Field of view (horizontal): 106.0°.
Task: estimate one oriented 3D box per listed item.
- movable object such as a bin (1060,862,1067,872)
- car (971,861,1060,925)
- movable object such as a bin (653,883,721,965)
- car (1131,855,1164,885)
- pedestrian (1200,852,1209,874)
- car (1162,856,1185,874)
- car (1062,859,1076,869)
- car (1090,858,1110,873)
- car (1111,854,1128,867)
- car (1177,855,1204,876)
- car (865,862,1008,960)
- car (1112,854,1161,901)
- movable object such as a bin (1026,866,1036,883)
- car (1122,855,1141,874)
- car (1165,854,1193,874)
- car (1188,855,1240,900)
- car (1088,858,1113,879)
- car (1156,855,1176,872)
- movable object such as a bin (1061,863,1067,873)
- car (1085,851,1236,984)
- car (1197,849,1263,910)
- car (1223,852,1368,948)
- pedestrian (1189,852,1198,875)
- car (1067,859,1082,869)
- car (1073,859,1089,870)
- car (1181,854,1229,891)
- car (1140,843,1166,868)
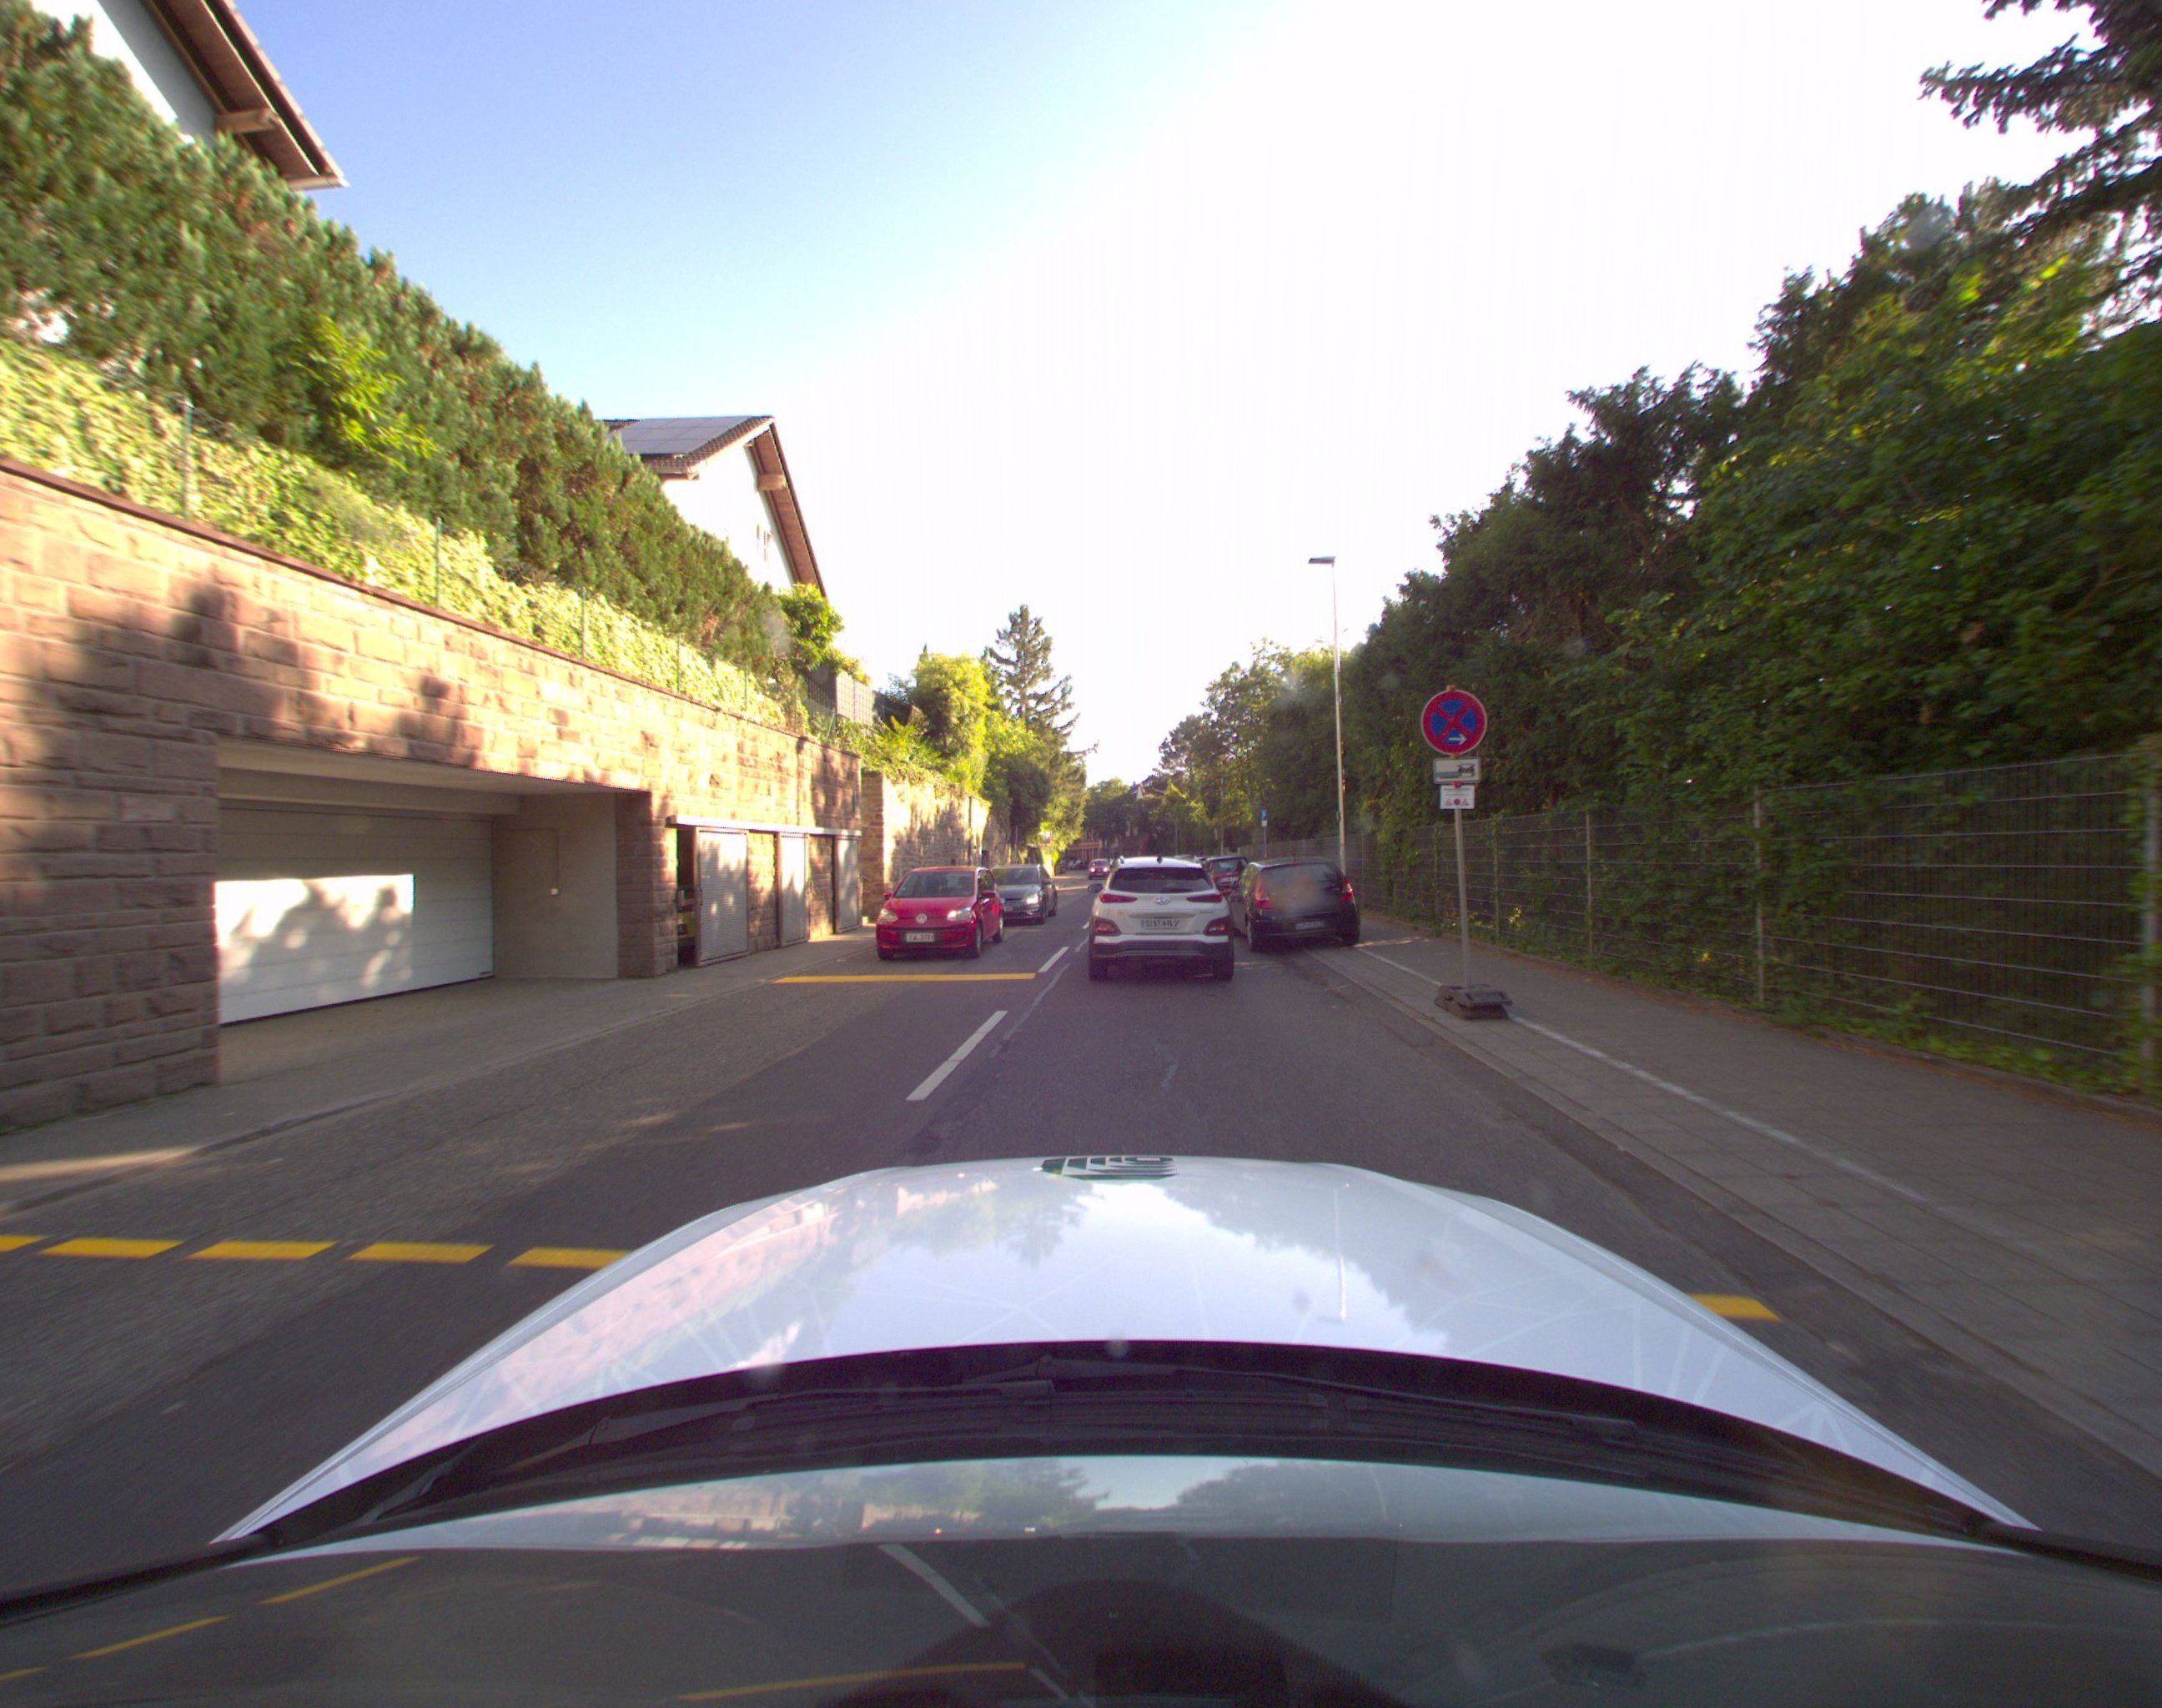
[{"bbox_3d":[-1.981,1.469,91.777,0.788,1.189,0.773,0,-1,3],"label":"movable object such as a bin"},{"bbox_3d":[-1.567,0.919,20.719,1.642,1.411,3.935,-2,-1,4],"label":"car"},{"bbox_3d":[-5.944,1.040,12.316,0.655,1.176,0.666,-1,-1,5],"label":"movable object such as a bin"},{"bbox_3d":[3.468,0.802,42.128,1.562,1.477,3.555,0,0,7],"label":"car"},{"bbox_3d":[8.910,0.649,58.836,0.500,1.569,0.504,-3,-1,5],"label":"pedestrian"},{"bbox_3d":[8.328,0.970,73.803,1.588,1.519,3.932,-3,-1,0],"label":"car"},{"bbox_3d":[-2.076,1.752,140.098,1.757,1.616,3.983,0,0,-12],"label":"car"},{"bbox_3d":[2.000,1.202,85.906,1.737,1.474,3.996,-4,-1,-2],"label":"car"},{"bbox_3d":[4.329,0.737,92.453,1.586,1.386,3.356,-1,-1,-4],"label":"car"},{"bbox_3d":[8.448,0.868,63.201,1.680,1.431,4.002,-3,0,2],"label":"car"},{"bbox_3d":[-2.341,0.875,14.070,1.620,1.422,3.565,-2,-1,3],"label":"car"},{"bbox_3d":[2.007,0.787,28.927,1.504,1.533,3.555,-1,0,7],"label":"car"},{"bbox_3d":[-2.793,1.144,45.380,0.488,0.964,0.584,0,-1,2],"label":"movable object such as a bin"},{"bbox_3d":[4.601,0.936,73.793,1.582,1.582,3.364,-1,-1,4],"label":"car"},{"bbox_3d":[8.247,0.825,68.593,1.590,1.565,3.995,-3,-1,-3],"label":"car"},{"bbox_3d":[4.878,0.820,30.295,1.701,1.498,4.823,1,0,7],"label":"car"},{"bbox_3d":[1.509,1.035,60.754,1.543,1.466,3.573,-3,-1,5],"label":"car"},{"bbox_3d":[8.305,0.892,79.587,1.588,1.489,3.602,-3,0,0],"label":"car"},{"bbox_3d":[-1.691,1.398,81.678,0.493,1.011,1.114,0,-1,5],"label":"movable object such as a bin"},{"bbox_3d":[1.200,0.751,11.560,1.762,1.542,4.009,0,0,8],"label":"car"},{"bbox_3d":[4.435,0.745,24.538,1.644,1.564,2.878,-6,-1,7],"label":"car"},{"bbox_3d":[3.639,0.710,14.504,1.786,1.441,4.005,-1,0,4],"label":"car"},{"bbox_3d":[8.089,0.673,58.560,0.500,1.606,0.492,-3,-1,5],"label":"pedestrian"},{"bbox_3d":[-1.128,1.685,134.883,1.757,1.616,3.983,0,0,-12],"label":"car"},{"bbox_3d":[-0.043,1.624,130.065,1.757,1.616,3.983,0,0,-12],"label":"car"},{"bbox_3d":[5.219,0.763,34.596,1.619,1.510,2.904,-1,0,1],"label":"car"},{"bbox_3d":[5.084,0.071,57.448,1.685,1.533,3.888,-4,1,5],"label":"car"}]
